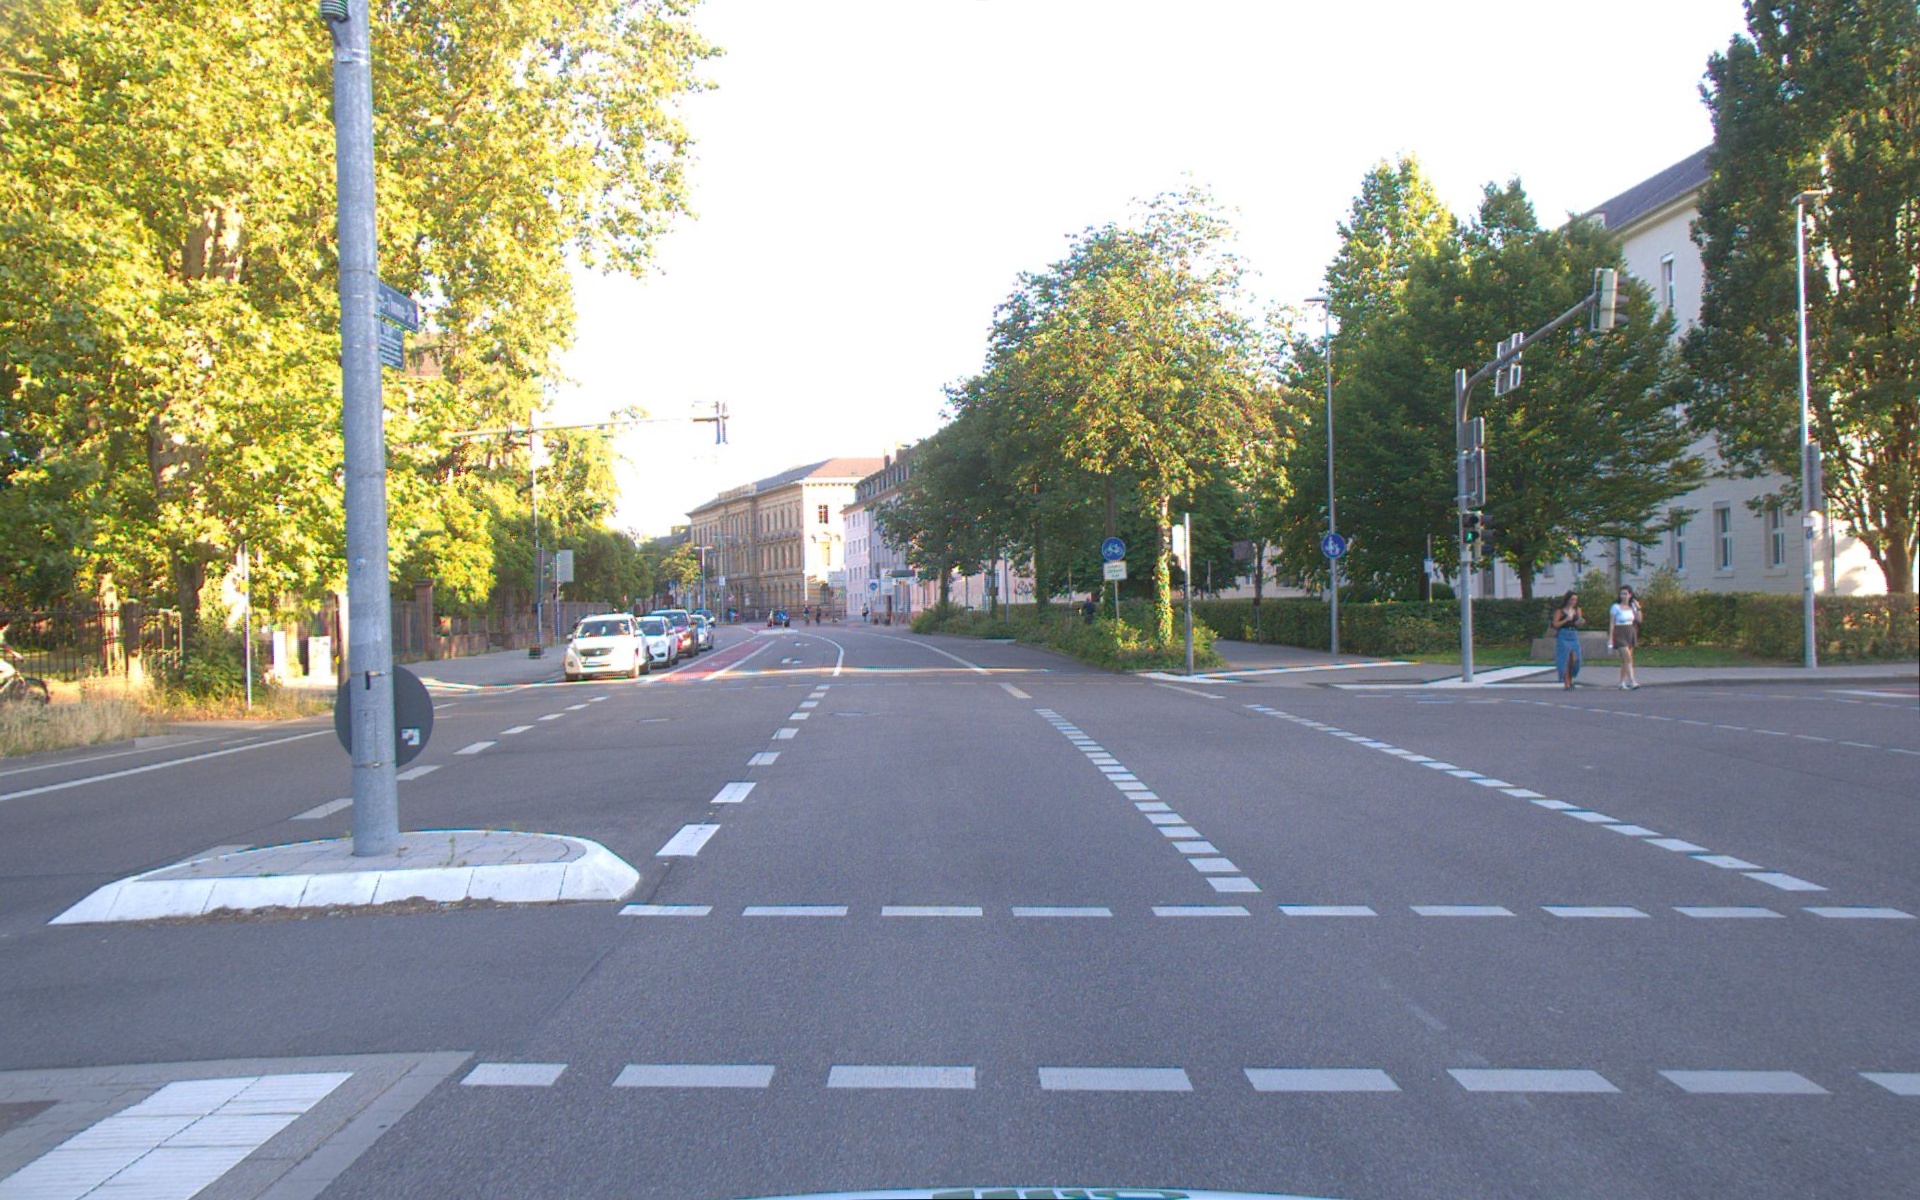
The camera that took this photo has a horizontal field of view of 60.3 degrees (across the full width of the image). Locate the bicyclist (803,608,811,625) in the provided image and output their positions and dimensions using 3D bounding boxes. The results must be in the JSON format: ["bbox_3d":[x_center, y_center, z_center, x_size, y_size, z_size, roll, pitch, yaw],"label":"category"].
[{"bbox_3d":[-13.192,1.419,142.905,0.640,1.471,0.877,1,-1,-9],"label":"bicyclist"}]

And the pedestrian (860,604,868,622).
[{"bbox_3d":[-9.280,1.273,160.200,0.747,1.785,0.844,-1,-1,-4],"label":"pedestrian"}]

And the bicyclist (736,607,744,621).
[{"bbox_3d":[-27.458,1.768,206.261,0.644,1.727,0.949,1,-1,-27],"label":"bicyclist"}]

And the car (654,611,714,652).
[{"bbox_3d":[-10.791,1.212,65.049,1.879,1.442,4.765,-3,0,-5],"label":"car"}]

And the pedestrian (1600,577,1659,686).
[{"bbox_3d":[11.260,0.523,27.835,0.667,1.784,0.688,-2,0,-1],"label":"pedestrian"}]

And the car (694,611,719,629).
[{"bbox_3d":[-23.379,1.862,152.596,1.818,1.553,3.984,-3,0,-15],"label":"car"}]

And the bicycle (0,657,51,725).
[{"bbox_3d":[-18.375,1.759,31.714,1.613,1.251,0.566,-1,0,-34],"label":"bicycle"}]

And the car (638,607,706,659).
[{"bbox_3d":[-10.160,1.138,58.556,1.879,1.653,4.634,-3,0,-5],"label":"car"}]

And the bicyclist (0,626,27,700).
[{"bbox_3d":[-18.403,1.213,31.736,0.829,1.385,0.566,-1,0,-34],"label":"bicyclist"}]

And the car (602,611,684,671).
[{"bbox_3d":[-9.542,1.199,50.139,1.879,1.611,4.669,-3,0,-5],"label":"car"}]

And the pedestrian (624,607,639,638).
[{"bbox_3d":[-17.920,1.209,90.174,0.667,1.650,0.688,-2,0,-2],"label":"pedestrian"}]

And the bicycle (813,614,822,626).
[{"bbox_3d":[-12.353,1.747,143.126,0.639,1.033,2.194,1,0,-8],"label":"bicycle"}]

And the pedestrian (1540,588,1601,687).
[{"bbox_3d":[10.423,0.628,28.257,0.667,1.650,0.845,-2,0,-1],"label":"pedestrian"}]

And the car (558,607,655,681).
[{"bbox_3d":[-9.233,1.119,43.544,1.879,1.725,4.422,-3,0,-5],"label":"car"}]

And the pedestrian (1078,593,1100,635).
[{"bbox_3d":[5.667,0.611,72.567,0.756,1.769,0.805,-1,0,-11],"label":"pedestrian"}]

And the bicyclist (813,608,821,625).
[{"bbox_3d":[-12.350,1.418,143.133,0.639,1.501,0.939,1,-1,-8],"label":"bicyclist"}]

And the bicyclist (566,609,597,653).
[{"bbox_3d":[-12.819,1.050,56.030,0.838,1.456,0.943,-1,0,-1],"label":"bicyclist"}]

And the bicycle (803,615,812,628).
[{"bbox_3d":[-13.205,1.857,142.917,0.640,1.033,2.193,1,0,-9],"label":"bicycle"}]

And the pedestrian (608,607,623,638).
[{"bbox_3d":[-18.760,1.215,90.033,0.667,1.650,0.688,-2,0,-1],"label":"pedestrian"}]

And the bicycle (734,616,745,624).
[{"bbox_3d":[-27.489,2.495,206.281,0.644,1.033,2.179,1,-1,-26],"label":"bicycle"}]
